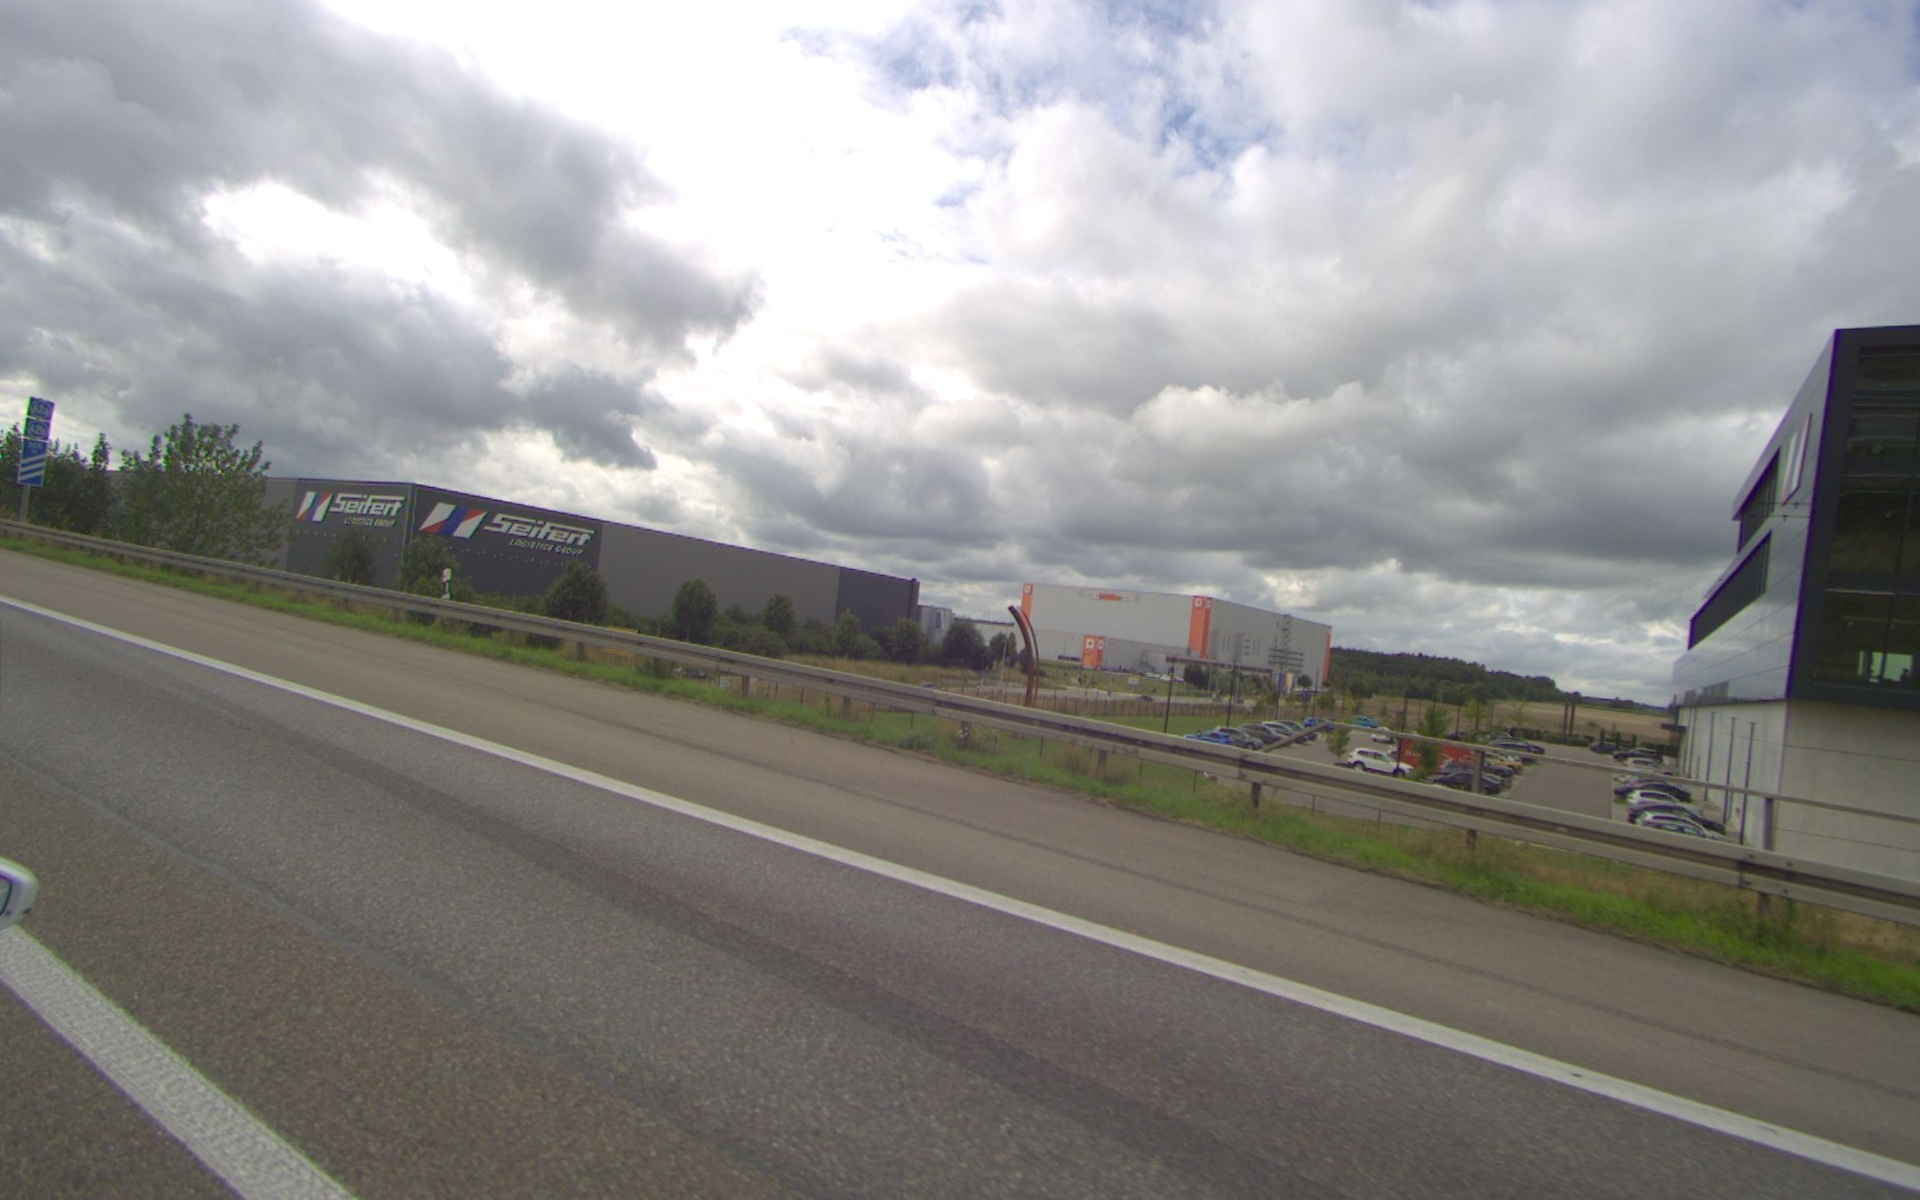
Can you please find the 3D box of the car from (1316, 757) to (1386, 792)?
[{"bbox_3d":[25.296,11.260,65.077,3.881,1.511,1.679,7,-3,32],"label":"car"}]

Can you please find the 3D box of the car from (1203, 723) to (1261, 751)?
[{"bbox_3d":[21.509,10.807,79.526,3.934,1.511,1.679,7,-3,32],"label":"car"}]

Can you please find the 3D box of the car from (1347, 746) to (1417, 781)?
[{"bbox_3d":[30.717,11.869,73.260,4.395,1.721,1.679,7,-3,32],"label":"car"}]

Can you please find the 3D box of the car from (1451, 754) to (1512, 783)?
[{"bbox_3d":[41.879,13.500,80.794,4.186,1.511,1.679,7,-3,32],"label":"car"}]

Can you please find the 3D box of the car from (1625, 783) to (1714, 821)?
[{"bbox_3d":[46.299,13.154,65.742,4.488,1.511,1.679,7,-3,32],"label":"car"}]

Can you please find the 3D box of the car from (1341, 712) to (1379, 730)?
[{"bbox_3d":[47.346,14.286,119.048,3.930,1.511,1.681,7,-3,27],"label":"car"}]

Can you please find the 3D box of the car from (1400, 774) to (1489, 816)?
[{"bbox_3d":[28.698,11.500,59.611,4.488,1.511,1.679,7,-3,32],"label":"car"}]

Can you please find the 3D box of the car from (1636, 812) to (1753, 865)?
[{"bbox_3d":[36.883,11.973,50.673,4.488,1.511,1.679,7,-3,32],"label":"car"}]

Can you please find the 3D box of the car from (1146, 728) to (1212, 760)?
[{"bbox_3d":[14.976,9.823,68.805,3.934,1.511,1.679,7,-3,32],"label":"car"}]

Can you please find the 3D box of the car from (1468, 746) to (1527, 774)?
[{"bbox_3d":[45.157,13.433,84.528,4.186,1.511,1.679,7,-3,32],"label":"car"}]

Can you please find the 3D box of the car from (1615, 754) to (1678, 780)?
[{"bbox_3d":[61.900,15.030,90.793,4.488,1.511,1.679,6,-3,32],"label":"car"}]

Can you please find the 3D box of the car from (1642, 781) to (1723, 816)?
[{"bbox_3d":[51.639,14.195,72.006,4.488,1.511,1.679,7,-3,32],"label":"car"}]

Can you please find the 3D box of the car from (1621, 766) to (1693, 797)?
[{"bbox_3d":[55.683,14.478,80.443,4.488,1.511,1.679,7,-3,32],"label":"car"}]

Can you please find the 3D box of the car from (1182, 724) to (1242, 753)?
[{"bbox_3d":[18.842,10.369,75.267,3.934,1.511,1.679,7,-3,32],"label":"car"}]

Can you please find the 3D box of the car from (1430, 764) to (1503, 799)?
[{"bbox_3d":[34.136,12.195,67.807,4.186,1.511,1.679,7,-3,32],"label":"car"}]

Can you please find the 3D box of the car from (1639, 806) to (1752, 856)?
[{"bbox_3d":[38.517,12.080,52.826,4.488,1.511,1.679,7,-3,32],"label":"car"}]

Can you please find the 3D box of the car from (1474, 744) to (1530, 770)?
[{"bbox_3d":[48.049,13.914,89.241,4.186,1.511,1.679,7,-3,32],"label":"car"}]

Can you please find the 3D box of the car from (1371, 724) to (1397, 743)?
[{"bbox_3d":[42.234,13.304,100.183,1.653,1.511,3.995,7,-3,33],"label":"car"}]
